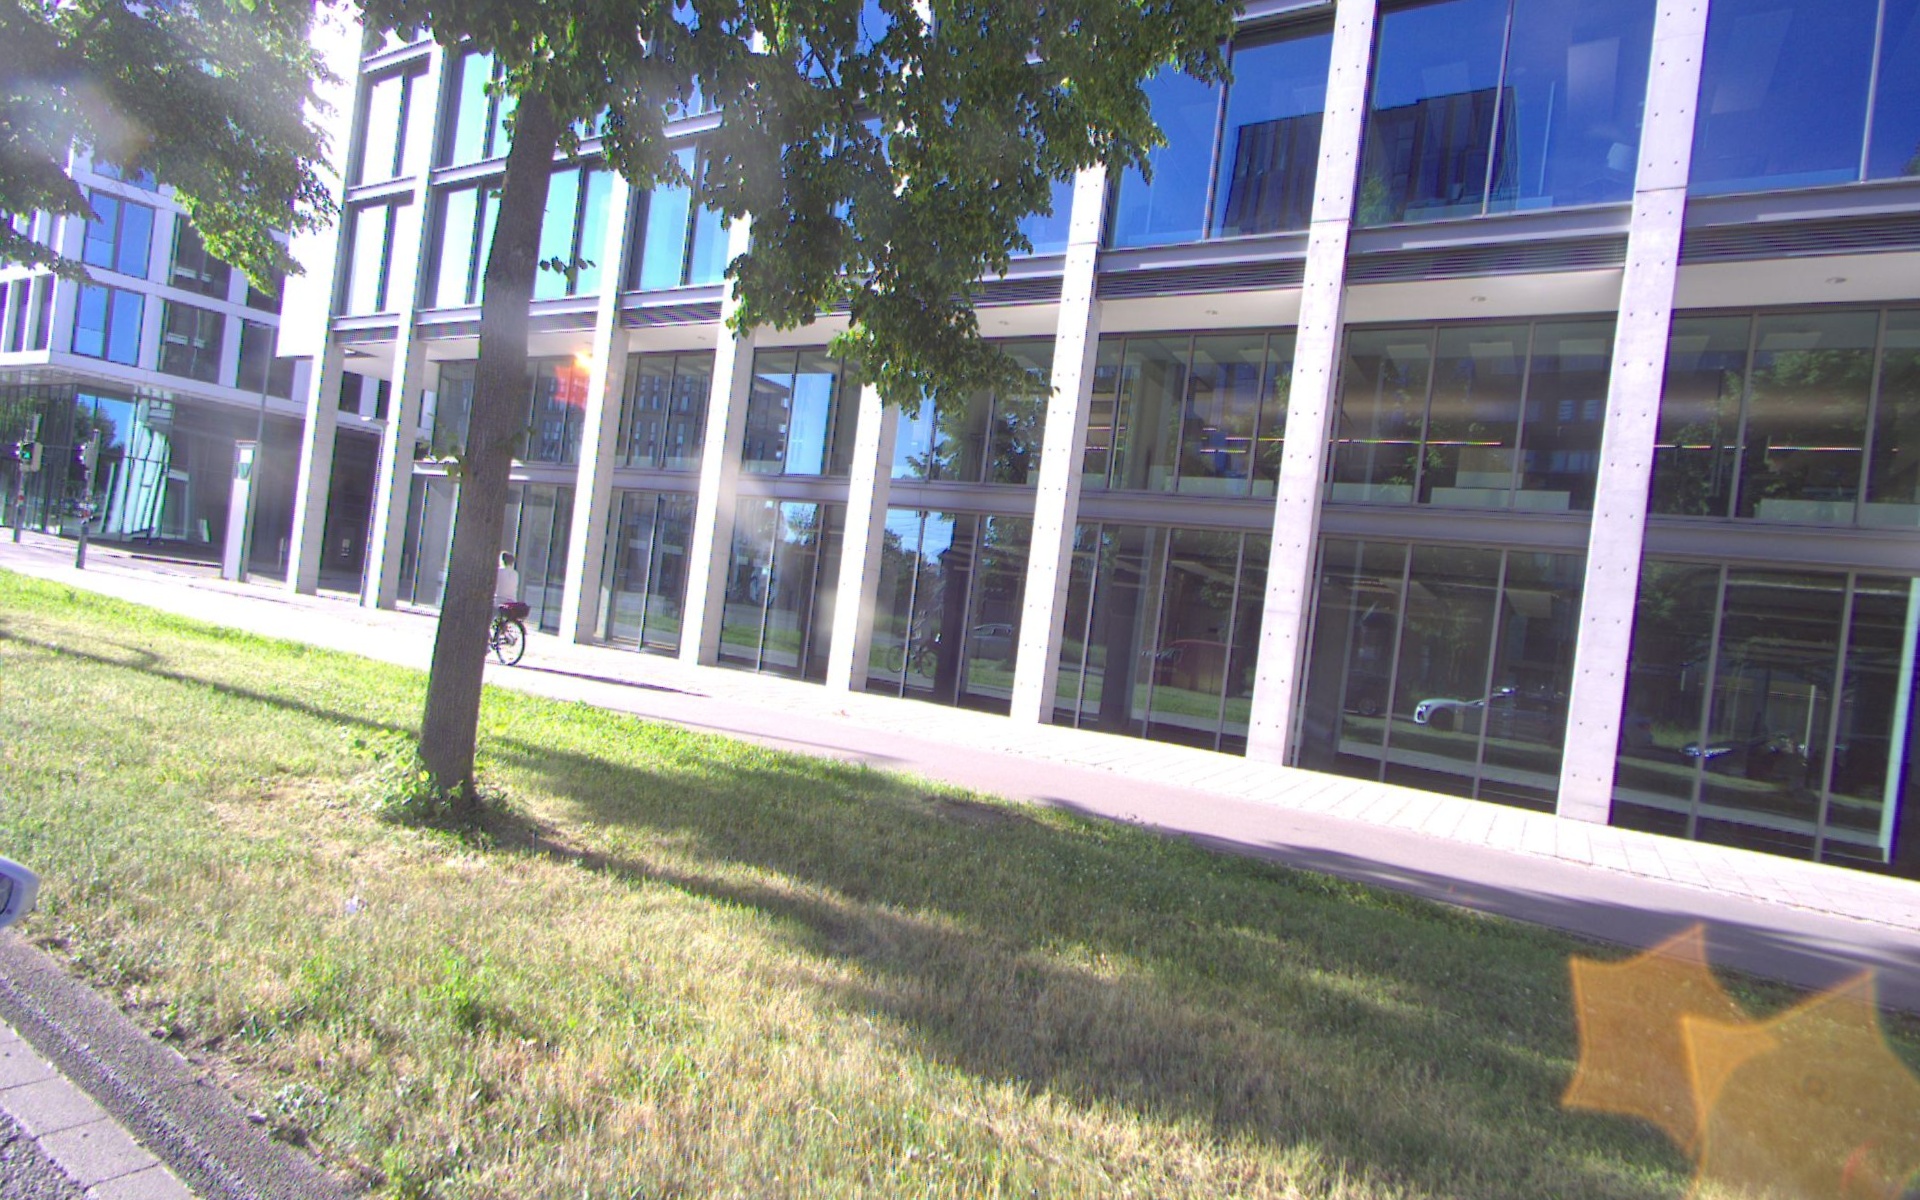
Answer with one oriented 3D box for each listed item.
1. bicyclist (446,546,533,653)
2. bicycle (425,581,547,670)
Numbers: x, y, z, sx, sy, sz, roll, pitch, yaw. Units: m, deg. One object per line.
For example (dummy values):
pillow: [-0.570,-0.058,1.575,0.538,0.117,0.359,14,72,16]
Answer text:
bicyclist: [-7.412,-0.006,15.868,0.835,1.550,0.772,7,0,31]
bicycle: [-7.493,0.395,15.873,1.929,1.189,0.742,6,1,32]
